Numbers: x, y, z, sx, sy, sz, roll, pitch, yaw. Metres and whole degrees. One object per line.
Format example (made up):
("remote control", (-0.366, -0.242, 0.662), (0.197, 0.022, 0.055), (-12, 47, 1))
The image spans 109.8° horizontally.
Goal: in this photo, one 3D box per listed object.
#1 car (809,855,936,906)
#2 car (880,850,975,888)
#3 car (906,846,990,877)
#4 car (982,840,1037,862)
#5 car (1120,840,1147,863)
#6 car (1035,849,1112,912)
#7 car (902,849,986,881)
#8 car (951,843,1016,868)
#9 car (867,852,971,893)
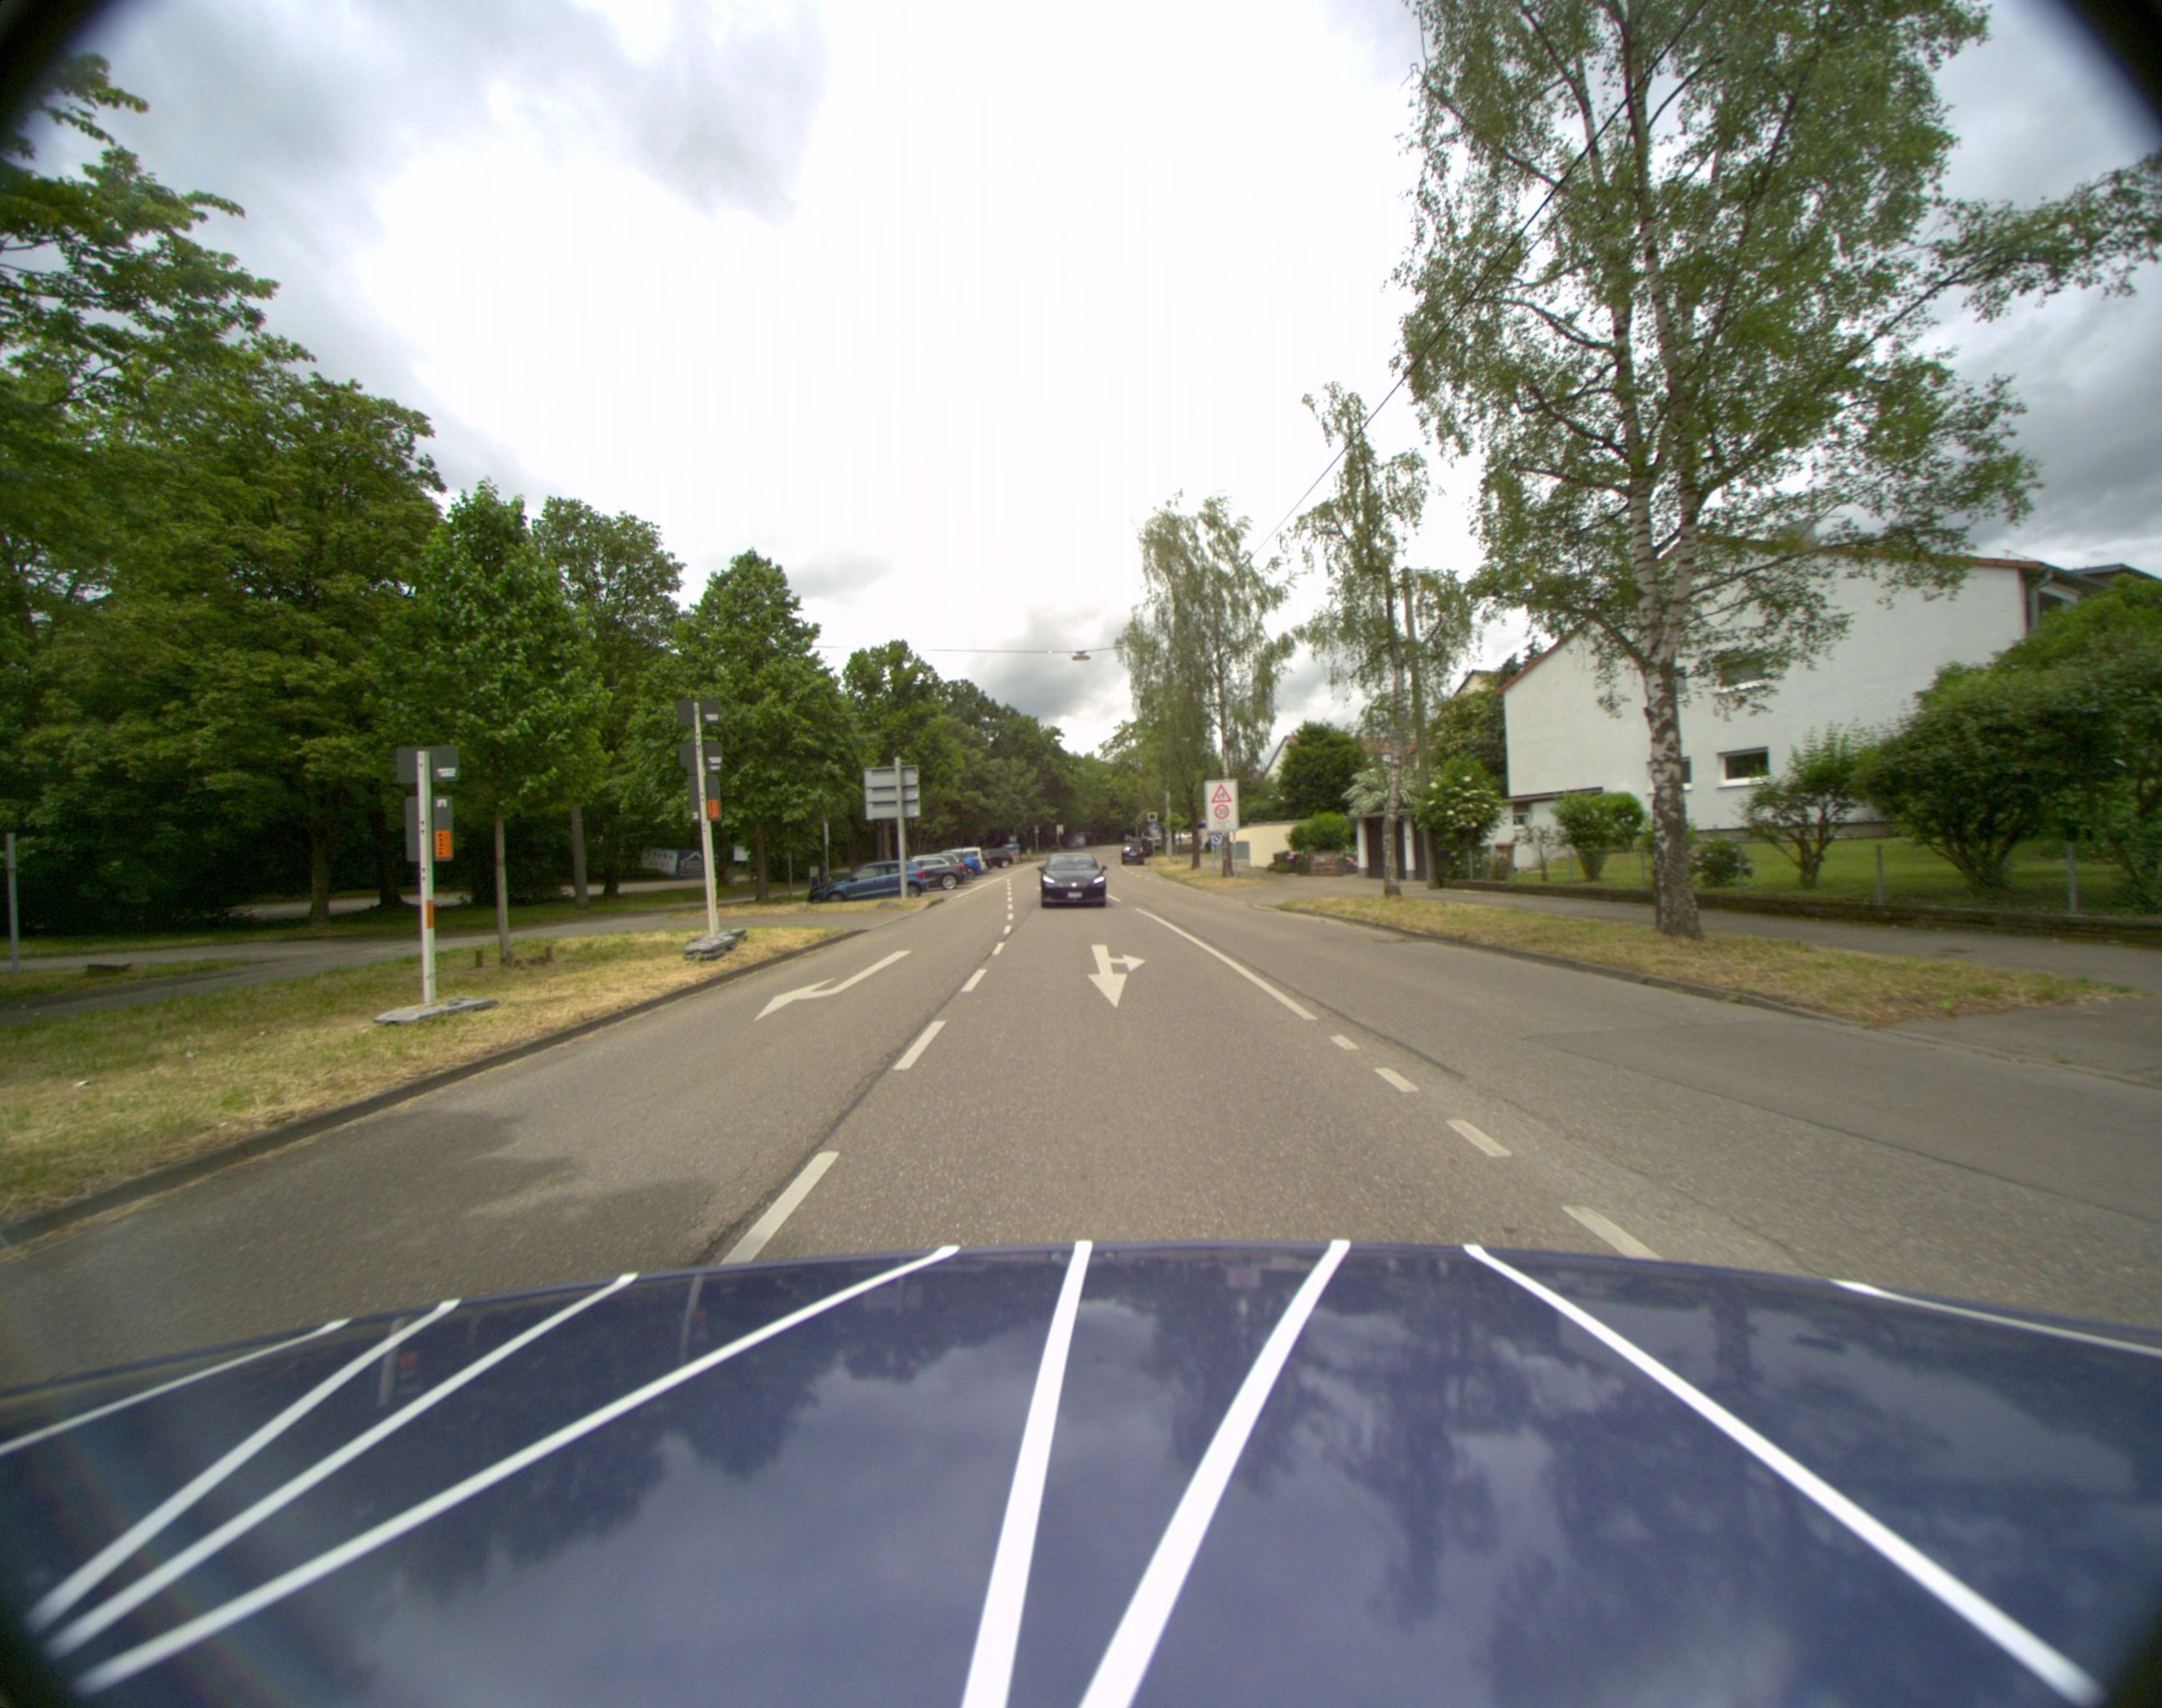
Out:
("car", (-7.143, 0.865, 25.962), (4.003, 1.478, 1.915), (-2, 2, -20))
("car", (-7.000, 0.651, 34.563), (4.003, 1.477, 1.916), (-2, 1, -18))
("car", (-7.711, 0.416, 44.134), (4.423, 1.599, 1.996), (-3, 1, -23))
("car", (-6.025, -0.237, 63.845), (4.419, 1.599, 1.998), (-3, 1, -9))
("car", (4.018, -0.224, 58.580), (1.974, 1.600, 4.418), (-1, 3, 3))
("car", (-0.164, 0.690, 22.169), (1.998, 1.608, 4.000), (-1, 1, 1))
("car", (-7.063, 0.545, 39.145), (4.003, 1.477, 1.916), (-2, 1, -18))
("car", (-7.116, 0.094, 55.127), (4.420, 1.599, 1.997), (-3, 1, -14))
("car", (-6.696, 0.709, 31.321), (4.003, 1.477, 1.916), (-2, 1, -18))
